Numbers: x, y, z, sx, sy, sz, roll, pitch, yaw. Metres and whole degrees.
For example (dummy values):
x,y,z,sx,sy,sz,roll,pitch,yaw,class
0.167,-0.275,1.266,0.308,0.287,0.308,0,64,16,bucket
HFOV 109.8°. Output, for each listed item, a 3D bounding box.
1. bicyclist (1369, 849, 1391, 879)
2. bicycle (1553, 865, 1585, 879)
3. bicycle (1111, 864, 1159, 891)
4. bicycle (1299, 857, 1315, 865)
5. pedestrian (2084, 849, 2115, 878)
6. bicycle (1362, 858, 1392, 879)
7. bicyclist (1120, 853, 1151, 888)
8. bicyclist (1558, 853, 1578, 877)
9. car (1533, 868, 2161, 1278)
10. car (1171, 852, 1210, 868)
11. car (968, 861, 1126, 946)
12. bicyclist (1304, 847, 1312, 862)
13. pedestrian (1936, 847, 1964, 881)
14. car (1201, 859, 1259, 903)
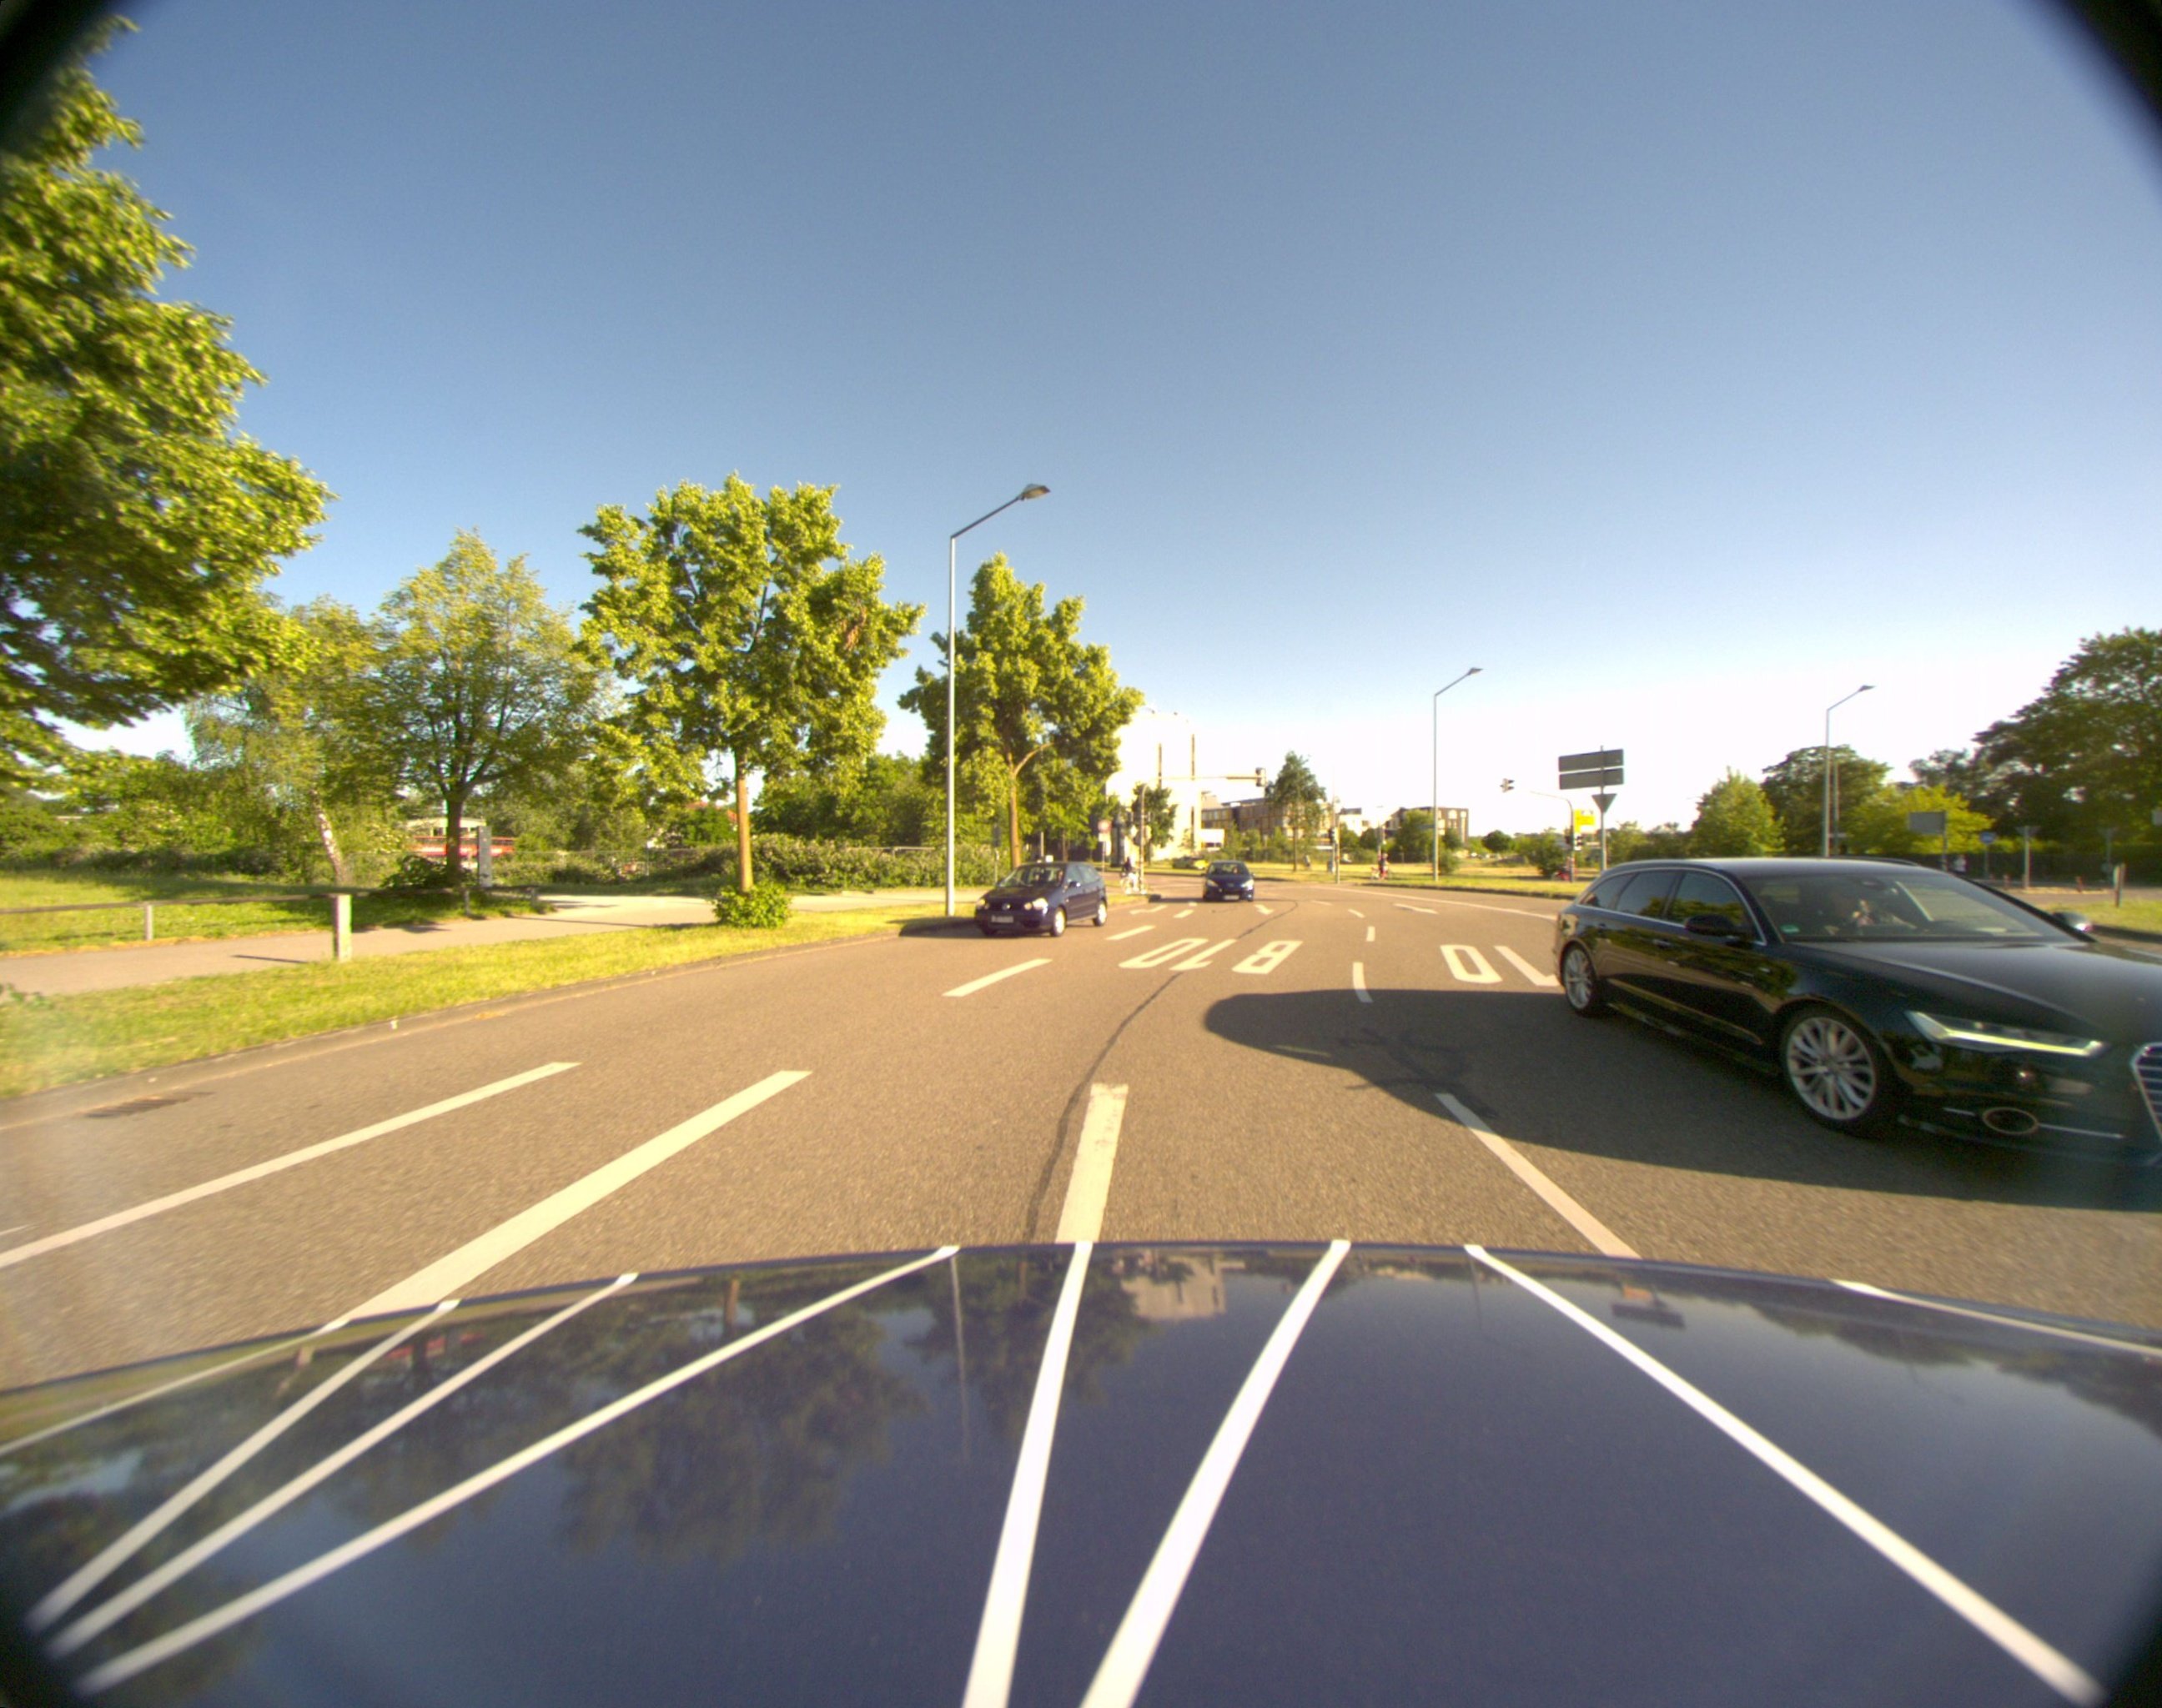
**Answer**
x,y,z,sx,sy,sz,roll,pitch,yaw,class
16.849,0.555,42.866,0.944,1.654,0.702,-1,2,-30,bicyclist
31.092,1.131,48.437,1.890,0.847,0.616,0,1,-15,bicycle
2.461,1.067,34.500,2.221,1.148,0.873,1,2,-44,bicycle
22.696,0.698,76.330,0.491,0.847,1.886,0,0,-17,bicycle
71.259,0.661,53.166,0.899,2.002,0.820,1,2,21,pedestrian
16.682,0.826,42.765,1.658,1.122,0.702,-1,2,-31,bicycle
2.480,0.738,34.512,1.090,1.553,0.873,0,2,-44,bicyclist
31.041,0.670,48.412,0.926,1.508,0.616,0,1,-15,bicyclist
5.046,0.867,5.213,1.795,1.435,5.021,0,0,12,car
10.786,0.605,75.215,2.011,1.532,4.317,0,0,-19,car
-0.538,0.930,16.217,1.634,1.459,4.553,0,0,22,car
22.755,0.067,76.147,0.433,1.555,0.850,0,1,-17,bicyclist
51.002,0.585,44.609,0.941,1.994,0.590,1,1,36,pedestrian
5.495,0.954,28.428,1.756,1.446,4.002,-1,0,6,car
